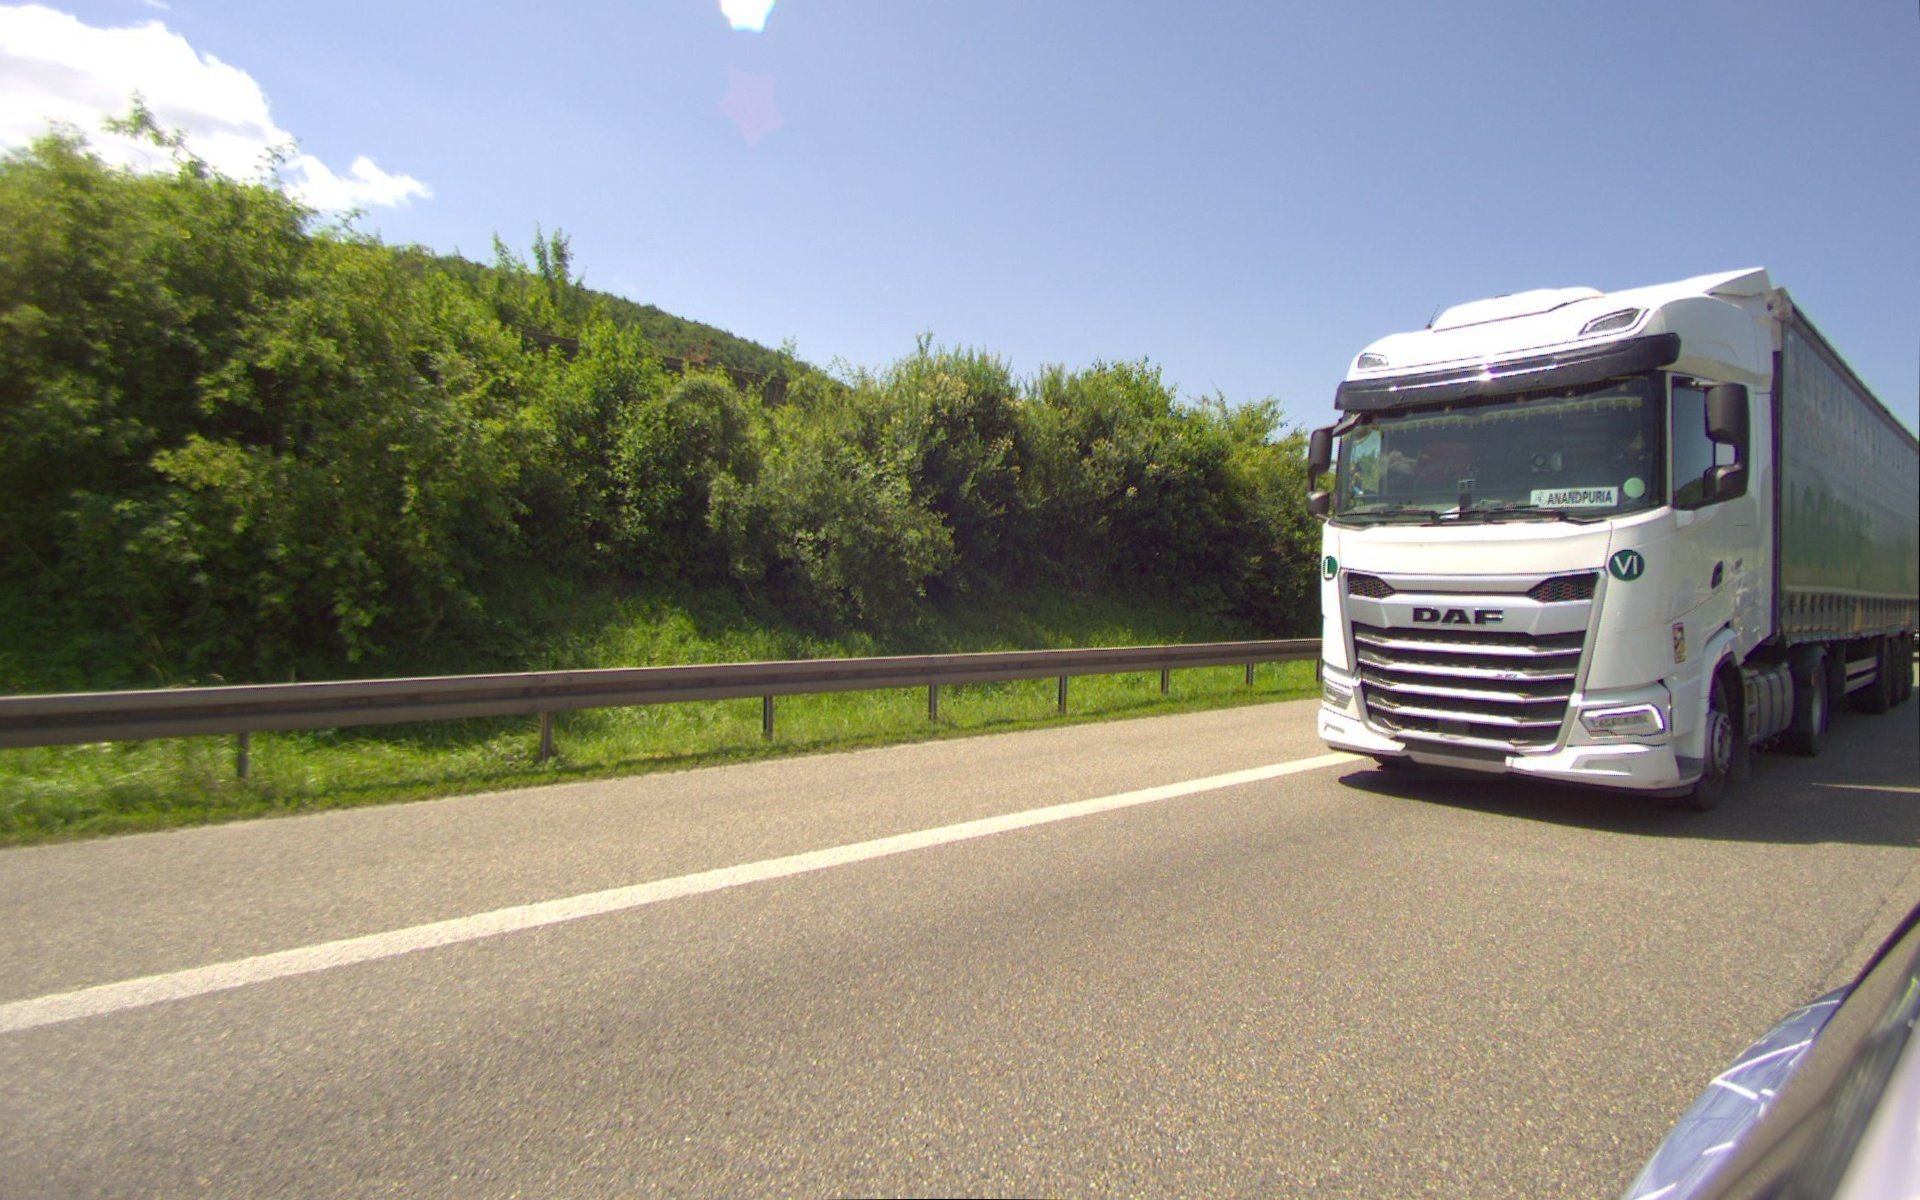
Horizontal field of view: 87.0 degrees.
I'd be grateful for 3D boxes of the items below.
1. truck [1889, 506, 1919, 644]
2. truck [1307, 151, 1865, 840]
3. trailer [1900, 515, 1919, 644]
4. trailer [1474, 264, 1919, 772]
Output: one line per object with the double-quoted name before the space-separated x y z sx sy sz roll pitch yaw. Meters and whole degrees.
"truck" 31.409 -0.775 31.969 5.977 4.140 2.528 -1 0 -43
"truck" 5.845 -0.640 8.947 6.271 4.027 2.482 0 1 -42
"trailer" 36.450 -0.736 36.625 13.398 4.160 2.540 -1 0 -43
"trailer" 10.869 -0.687 13.431 13.419 4.027 2.482 0 1 -42
